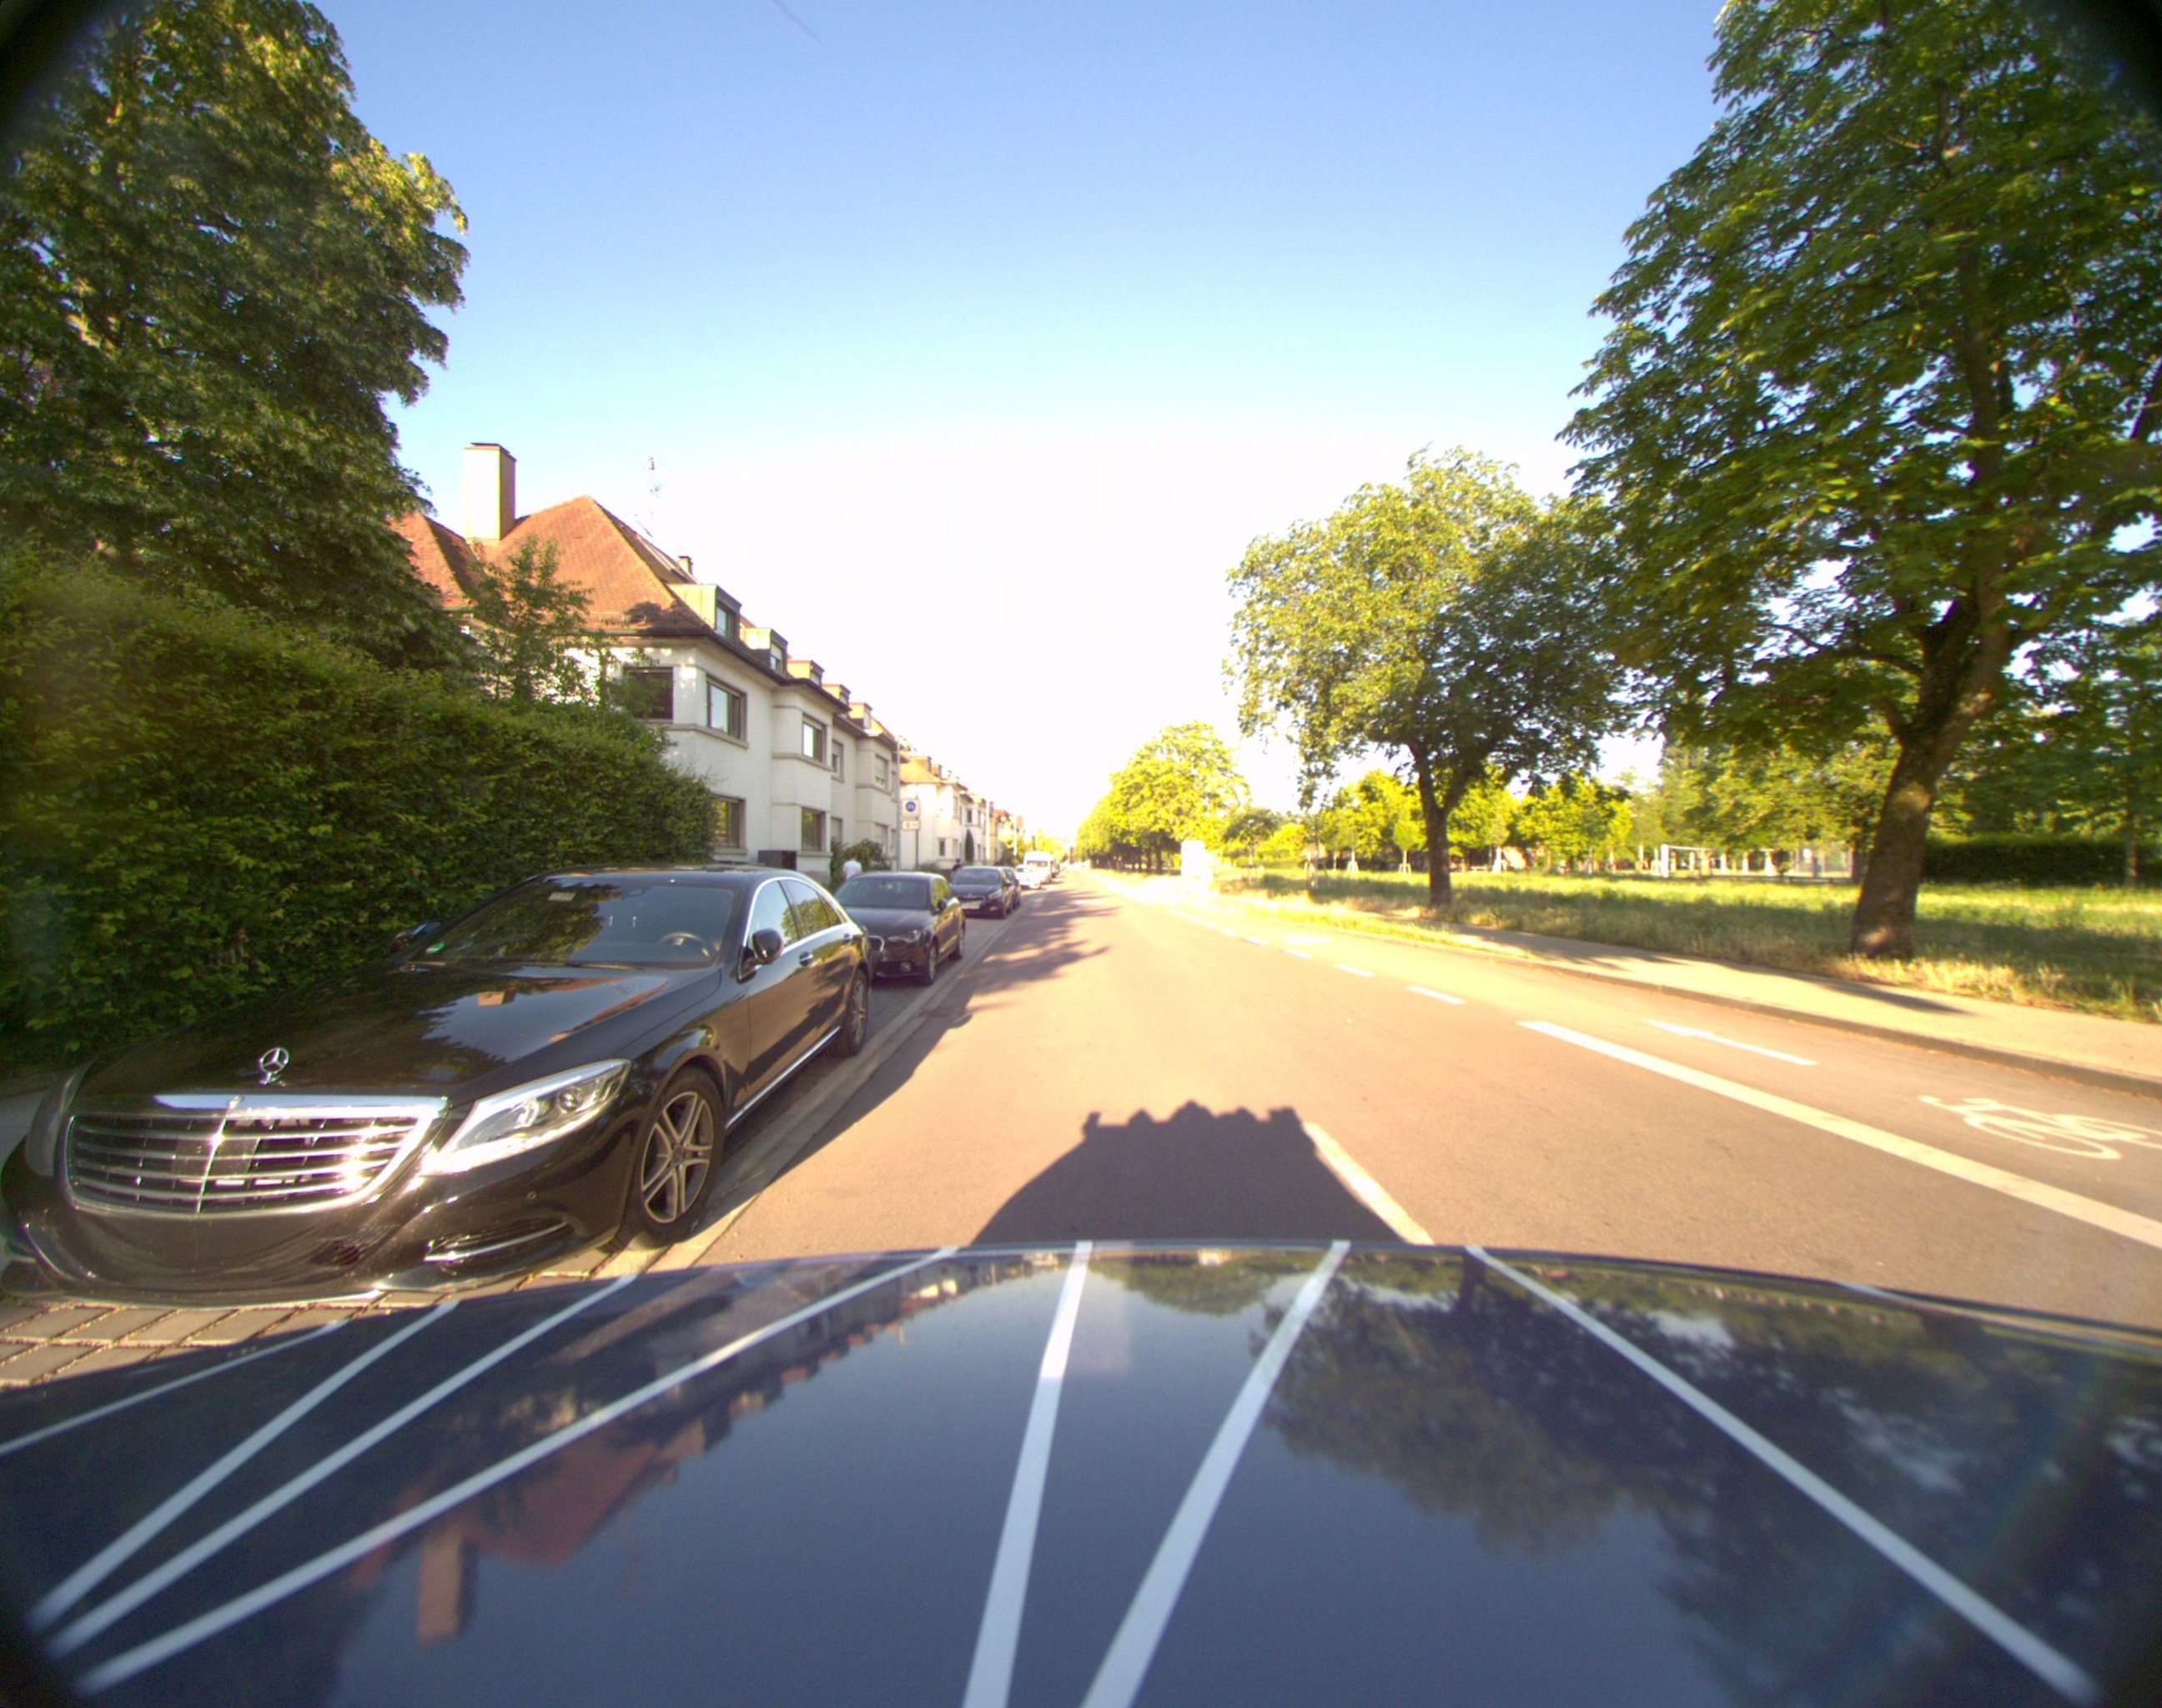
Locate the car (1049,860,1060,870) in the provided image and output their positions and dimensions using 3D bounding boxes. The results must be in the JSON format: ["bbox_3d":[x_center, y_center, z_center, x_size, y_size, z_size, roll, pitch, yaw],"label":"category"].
[{"bbox_3d":[-4.088,1.703,117.028,1.682,1.543,3.842,1,0,-3],"label":"car"}]

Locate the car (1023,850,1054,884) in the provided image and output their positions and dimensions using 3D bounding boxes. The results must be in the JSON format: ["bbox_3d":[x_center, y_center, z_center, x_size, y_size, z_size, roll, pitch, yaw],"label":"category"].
[{"bbox_3d":[-3.273,0.930,59.702,2.132,2.461,5.723,-2,1,-1],"label":"car"}]

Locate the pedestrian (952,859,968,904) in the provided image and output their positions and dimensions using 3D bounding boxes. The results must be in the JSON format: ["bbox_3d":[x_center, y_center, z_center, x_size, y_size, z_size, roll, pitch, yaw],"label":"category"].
[{"bbox_3d":[-4.962,1.118,31.166,0.531,1.787,0.589,-2,1,-2],"label":"pedestrian"}]

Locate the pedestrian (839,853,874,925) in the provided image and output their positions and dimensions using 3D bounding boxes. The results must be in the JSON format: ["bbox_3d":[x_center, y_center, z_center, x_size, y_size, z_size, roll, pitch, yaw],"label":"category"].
[{"bbox_3d":[-5.923,0.911,20.068,0.587,1.835,0.823,-2,1,1],"label":"pedestrian"}]

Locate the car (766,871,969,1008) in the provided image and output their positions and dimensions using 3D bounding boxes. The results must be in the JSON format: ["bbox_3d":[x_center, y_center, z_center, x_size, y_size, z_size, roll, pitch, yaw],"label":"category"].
[{"bbox_3d":[-2.757,1.029,10.785,1.784,1.469,4.000,-2,-1,-1],"label":"car"}]

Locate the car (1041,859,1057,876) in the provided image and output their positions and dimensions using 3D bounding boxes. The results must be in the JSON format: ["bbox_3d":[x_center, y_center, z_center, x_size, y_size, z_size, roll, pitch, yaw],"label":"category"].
[{"bbox_3d":[-3.715,1.564,88.940,1.708,1.848,3.712,-2,1,0],"label":"car"}]

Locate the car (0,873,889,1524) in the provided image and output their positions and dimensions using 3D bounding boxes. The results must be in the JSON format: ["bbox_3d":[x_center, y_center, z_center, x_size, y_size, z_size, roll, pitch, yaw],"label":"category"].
[{"bbox_3d":[-2.591,0.904,4.307,2.009,1.489,4.914,1,0,-3],"label":"car"}]

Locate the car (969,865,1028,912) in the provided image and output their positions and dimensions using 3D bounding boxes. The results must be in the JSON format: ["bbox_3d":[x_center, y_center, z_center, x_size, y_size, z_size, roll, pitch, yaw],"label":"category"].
[{"bbox_3d":[-2.941,1.205,27.655,1.680,1.525,3.472,-2,-1,1],"label":"car"}]

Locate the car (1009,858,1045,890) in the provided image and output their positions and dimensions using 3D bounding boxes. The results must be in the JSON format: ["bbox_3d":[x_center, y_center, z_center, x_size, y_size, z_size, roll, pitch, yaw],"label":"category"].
[{"bbox_3d":[-3.266,1.194,46.588,1.999,1.775,3.999,-2,1,-1],"label":"car"}]

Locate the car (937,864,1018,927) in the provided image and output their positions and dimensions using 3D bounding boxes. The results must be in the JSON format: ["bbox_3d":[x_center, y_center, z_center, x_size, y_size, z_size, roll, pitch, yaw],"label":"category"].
[{"bbox_3d":[-2.885,1.125,21.949,1.796,1.586,4.077,-2,-1,-1],"label":"car"}]
